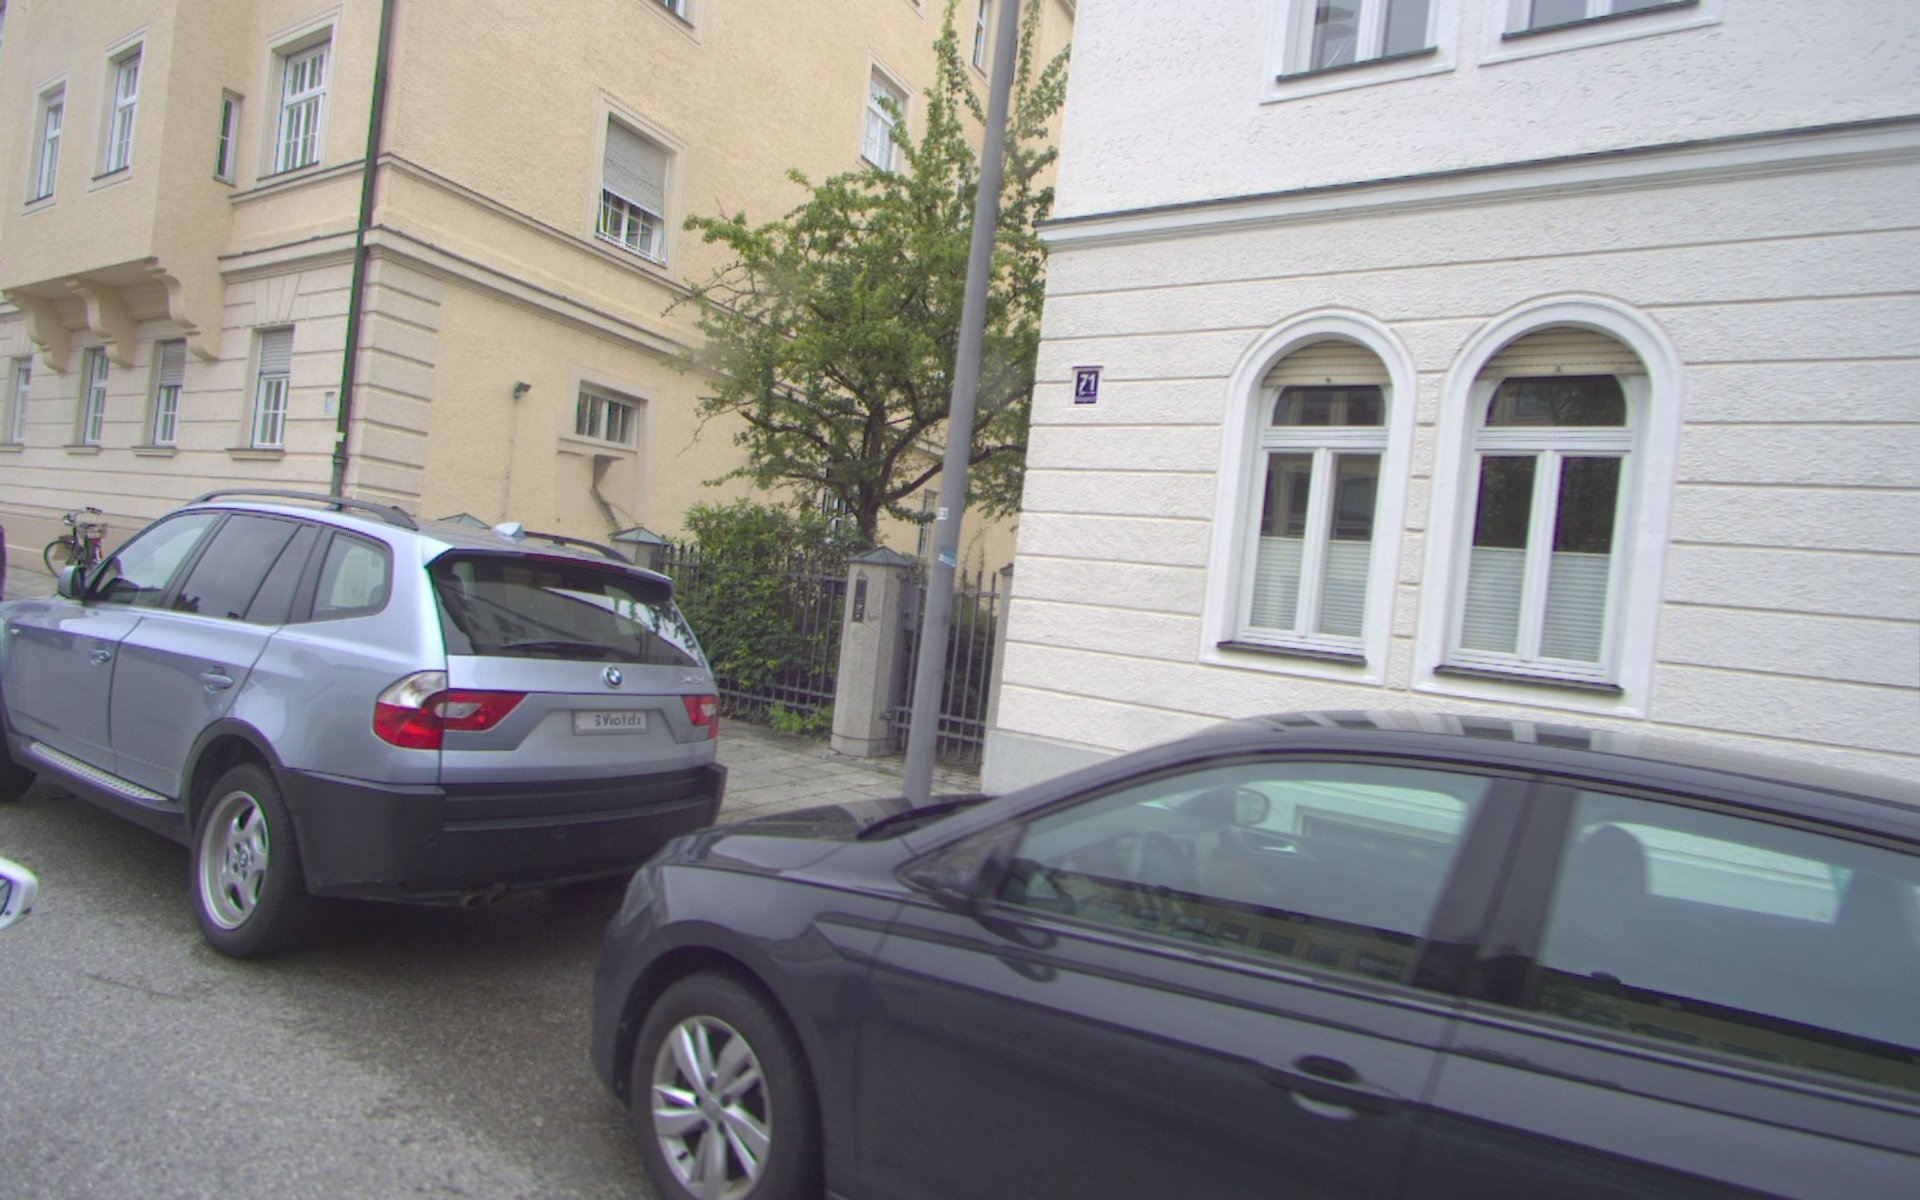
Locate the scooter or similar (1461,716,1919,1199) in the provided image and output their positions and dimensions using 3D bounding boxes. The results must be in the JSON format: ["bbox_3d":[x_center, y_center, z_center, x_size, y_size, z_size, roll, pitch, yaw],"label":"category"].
[{"bbox_3d":[2.304,1.041,3.193,1.152,1.178,0.485,6,-1,30],"label":"scooter or similar"}]

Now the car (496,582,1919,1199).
[{"bbox_3d":[0.980,0.923,2.331,4.019,1.445,1.681,6,-1,32],"label":"car"}]

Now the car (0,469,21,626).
[{"bbox_3d":[-11.572,-0.673,10.094,4.786,1.736,1.872,6,-2,32],"label":"car"}]

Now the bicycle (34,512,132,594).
[{"bbox_3d":[-13.624,-0.742,15.611,1.921,1.097,0.579,7,3,32],"label":"bicycle"}]

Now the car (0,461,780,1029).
[{"bbox_3d":[-3.189,0.339,4.911,4.383,1.654,1.725,6,-1,32],"label":"car"}]
